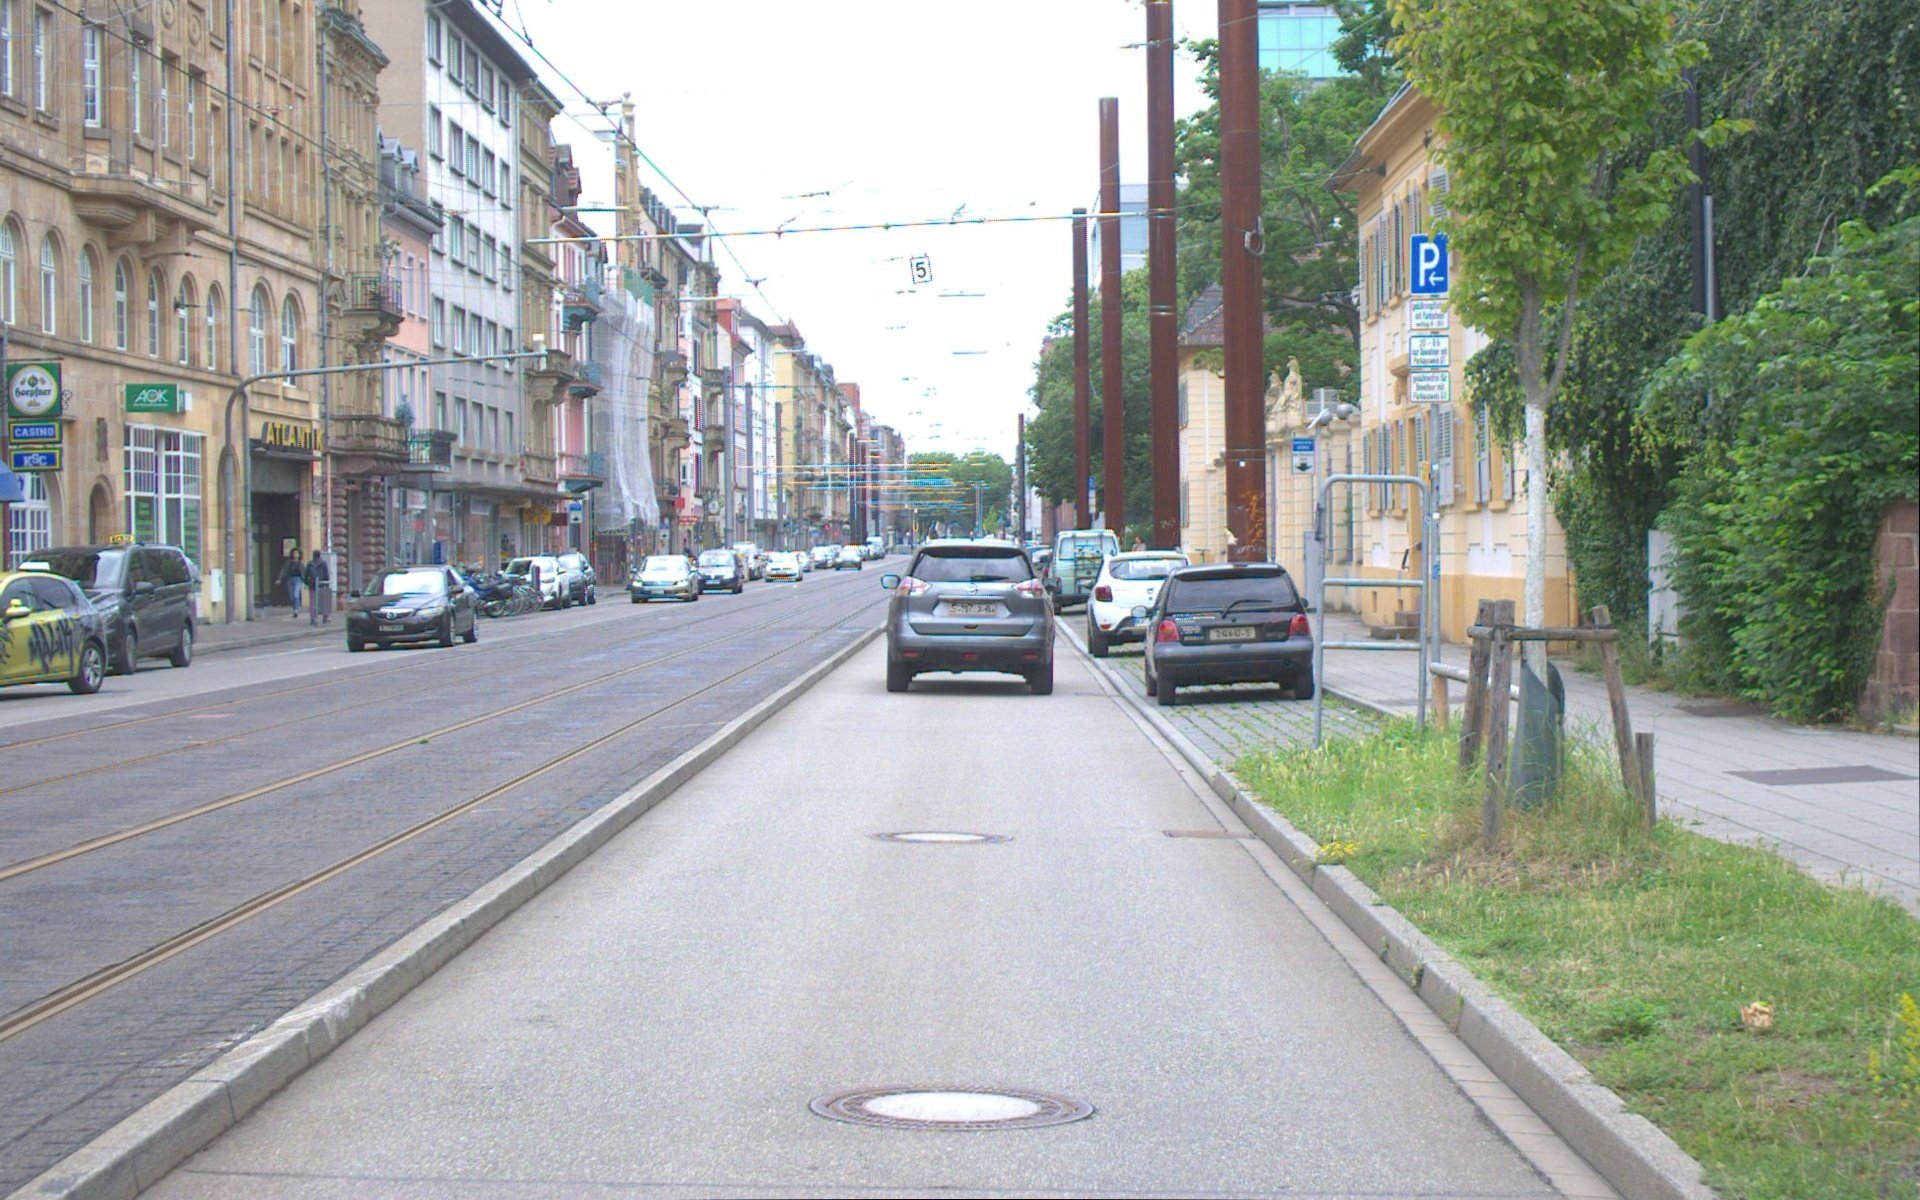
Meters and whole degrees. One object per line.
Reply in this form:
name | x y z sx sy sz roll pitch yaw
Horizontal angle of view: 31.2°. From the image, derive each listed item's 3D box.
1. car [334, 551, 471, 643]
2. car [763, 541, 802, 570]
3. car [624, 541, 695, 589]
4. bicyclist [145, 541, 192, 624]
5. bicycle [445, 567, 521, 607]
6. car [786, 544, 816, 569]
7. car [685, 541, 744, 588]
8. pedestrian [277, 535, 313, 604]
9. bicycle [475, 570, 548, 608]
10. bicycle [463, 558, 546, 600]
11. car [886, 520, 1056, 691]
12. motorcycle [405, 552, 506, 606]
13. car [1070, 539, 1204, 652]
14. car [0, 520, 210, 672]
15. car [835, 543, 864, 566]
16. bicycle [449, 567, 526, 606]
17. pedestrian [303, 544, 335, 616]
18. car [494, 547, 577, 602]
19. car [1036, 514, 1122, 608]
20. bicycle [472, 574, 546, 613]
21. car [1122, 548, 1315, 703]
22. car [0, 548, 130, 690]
car | -9.554 -0.079 59.197 1.827 1.428 4.668 -3 1 -4
car | -8.733 -2.201 169.280 1.687 1.415 4.135 -1 1 0
car | -9.275 -1.099 106.371 1.759 1.444 4.614 -1 1 1
bicyclist | -14.327 -0.322 62.214 0.611 1.482 0.972 0 1 0
bicycle | -12.230 -0.328 88.165 1.921 0.998 0.463 -1 1 -7
car | -10.664 -2.935 231.235 1.993 1.629 4.000 0 0 -3
car | -8.907 -1.302 125.188 1.759 1.666 4.614 -1 1 1
pedestrian | -15.640 -0.728 80.845 0.685 1.608 0.742 0 1 0
bicycle | -12.195 -0.308 93.481 1.965 0.998 0.463 -1 1 -7
bicycle | -12.488 -0.585 94.311 2.230 1.122 0.504 -1 1 -7
car | 0.130 0.026 38.466 1.749 1.750 3.924 2 1 0
motorcycle | -12.588 -0.529 85.835 2.337 1.298 0.883 -1 1 -36
car | 2.649 -0.102 52.129 1.755 1.569 3.931 -3 1 0
car | -12.301 -0.096 49.278 1.899 1.970 5.098 -3 1 0
car | -7.864 -3.216 243.521 1.993 1.629 4.000 0 0 -3
bicycle | -12.228 -0.352 88.950 1.965 0.998 0.463 -1 1 -7
pedestrian | -14.313 -0.446 76.760 0.568 1.592 0.718 -1 1 0
car | -12.056 -0.733 97.856 1.776 1.499 4.402 -1 1 0
car | 2.874 -0.967 83.933 1.851 2.108 4.985 -3 1 0
bicycle | -12.114 -0.177 92.383 1.965 0.998 0.463 -1 1 -7
car | 2.631 0.217 35.695 1.637 1.429 3.931 -3 1 0
car | -11.151 0.226 38.381 1.900 1.506 4.426 -2 1 12
